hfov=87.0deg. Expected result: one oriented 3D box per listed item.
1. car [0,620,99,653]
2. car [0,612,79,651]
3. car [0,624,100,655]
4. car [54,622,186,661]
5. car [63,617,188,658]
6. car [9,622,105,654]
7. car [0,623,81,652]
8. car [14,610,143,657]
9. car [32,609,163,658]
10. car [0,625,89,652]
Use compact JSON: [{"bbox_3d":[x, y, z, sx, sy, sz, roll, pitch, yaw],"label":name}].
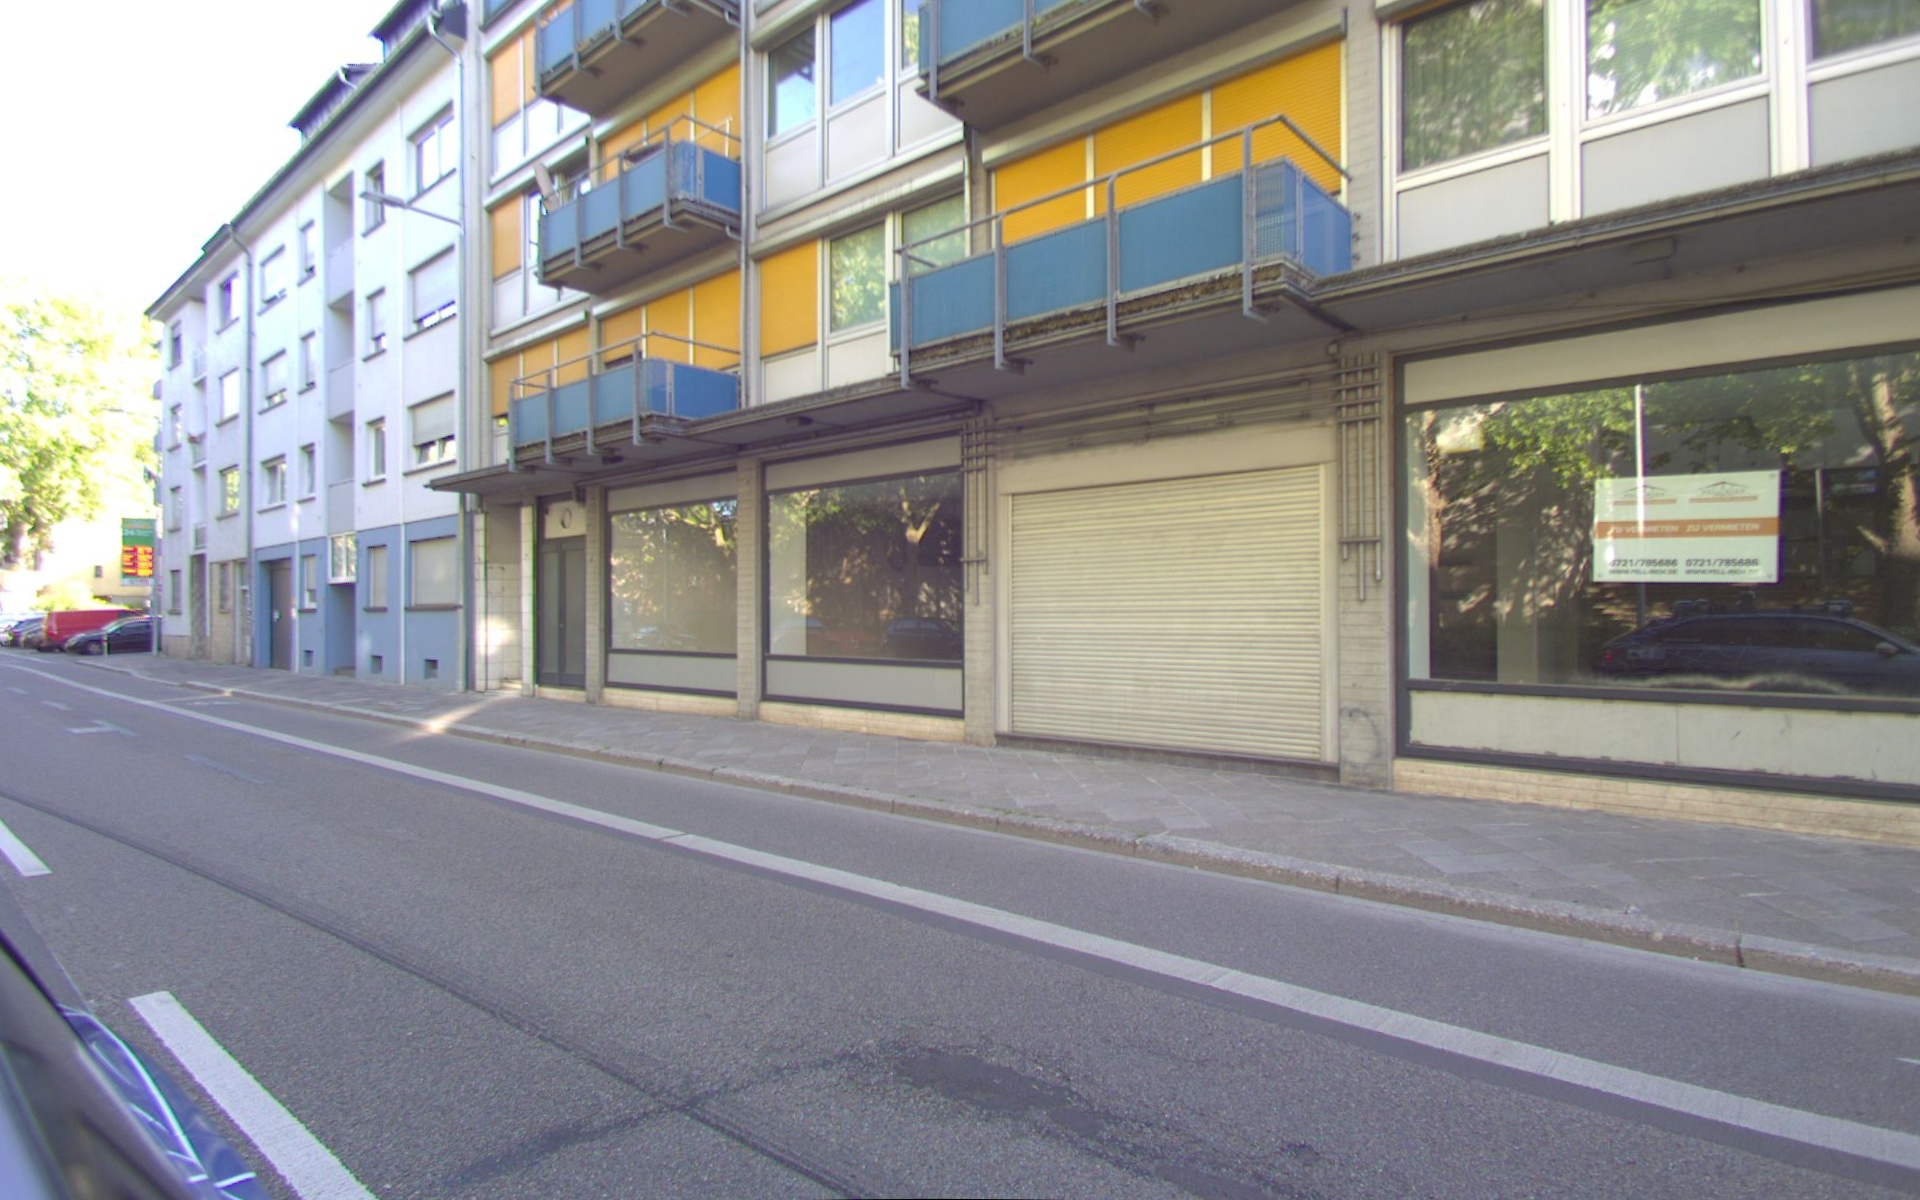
[{"bbox_3d":[-52.484,2.080,58.322,2.027,1.696,4.150,-1,0,41],"label":"car"},{"bbox_3d":[-59.424,2.008,64.393,2.139,2.233,4.794,-1,1,41],"label":"car"},{"bbox_3d":[-50.466,2.164,56.139,1.915,1.466,3.945,-2,0,41],"label":"car"},{"bbox_3d":[-36.640,1.774,44.225,2.045,1.390,4.184,-1,1,41],"label":"car"},{"bbox_3d":[-37.925,1.680,46.065,1.886,1.575,4.129,-1,1,41],"label":"car"},{"bbox_3d":[-48.826,2.030,54.742,1.830,1.524,3.647,-1,1,41],"label":"car"},{"bbox_3d":[-56.034,2.272,61.330,1.852,1.571,3.945,-2,0,41],"label":"car"},{"bbox_3d":[-42.903,1.600,49.322,2.056,1.966,4.475,-2,1,41],"label":"car"},{"bbox_3d":[-40.570,1.527,47.663,2.145,1.966,4.375,-2,1,41],"label":"car"},{"bbox_3d":[-54.389,2.264,59.983,1.852,1.444,3.945,-2,0,41],"label":"car"}]
